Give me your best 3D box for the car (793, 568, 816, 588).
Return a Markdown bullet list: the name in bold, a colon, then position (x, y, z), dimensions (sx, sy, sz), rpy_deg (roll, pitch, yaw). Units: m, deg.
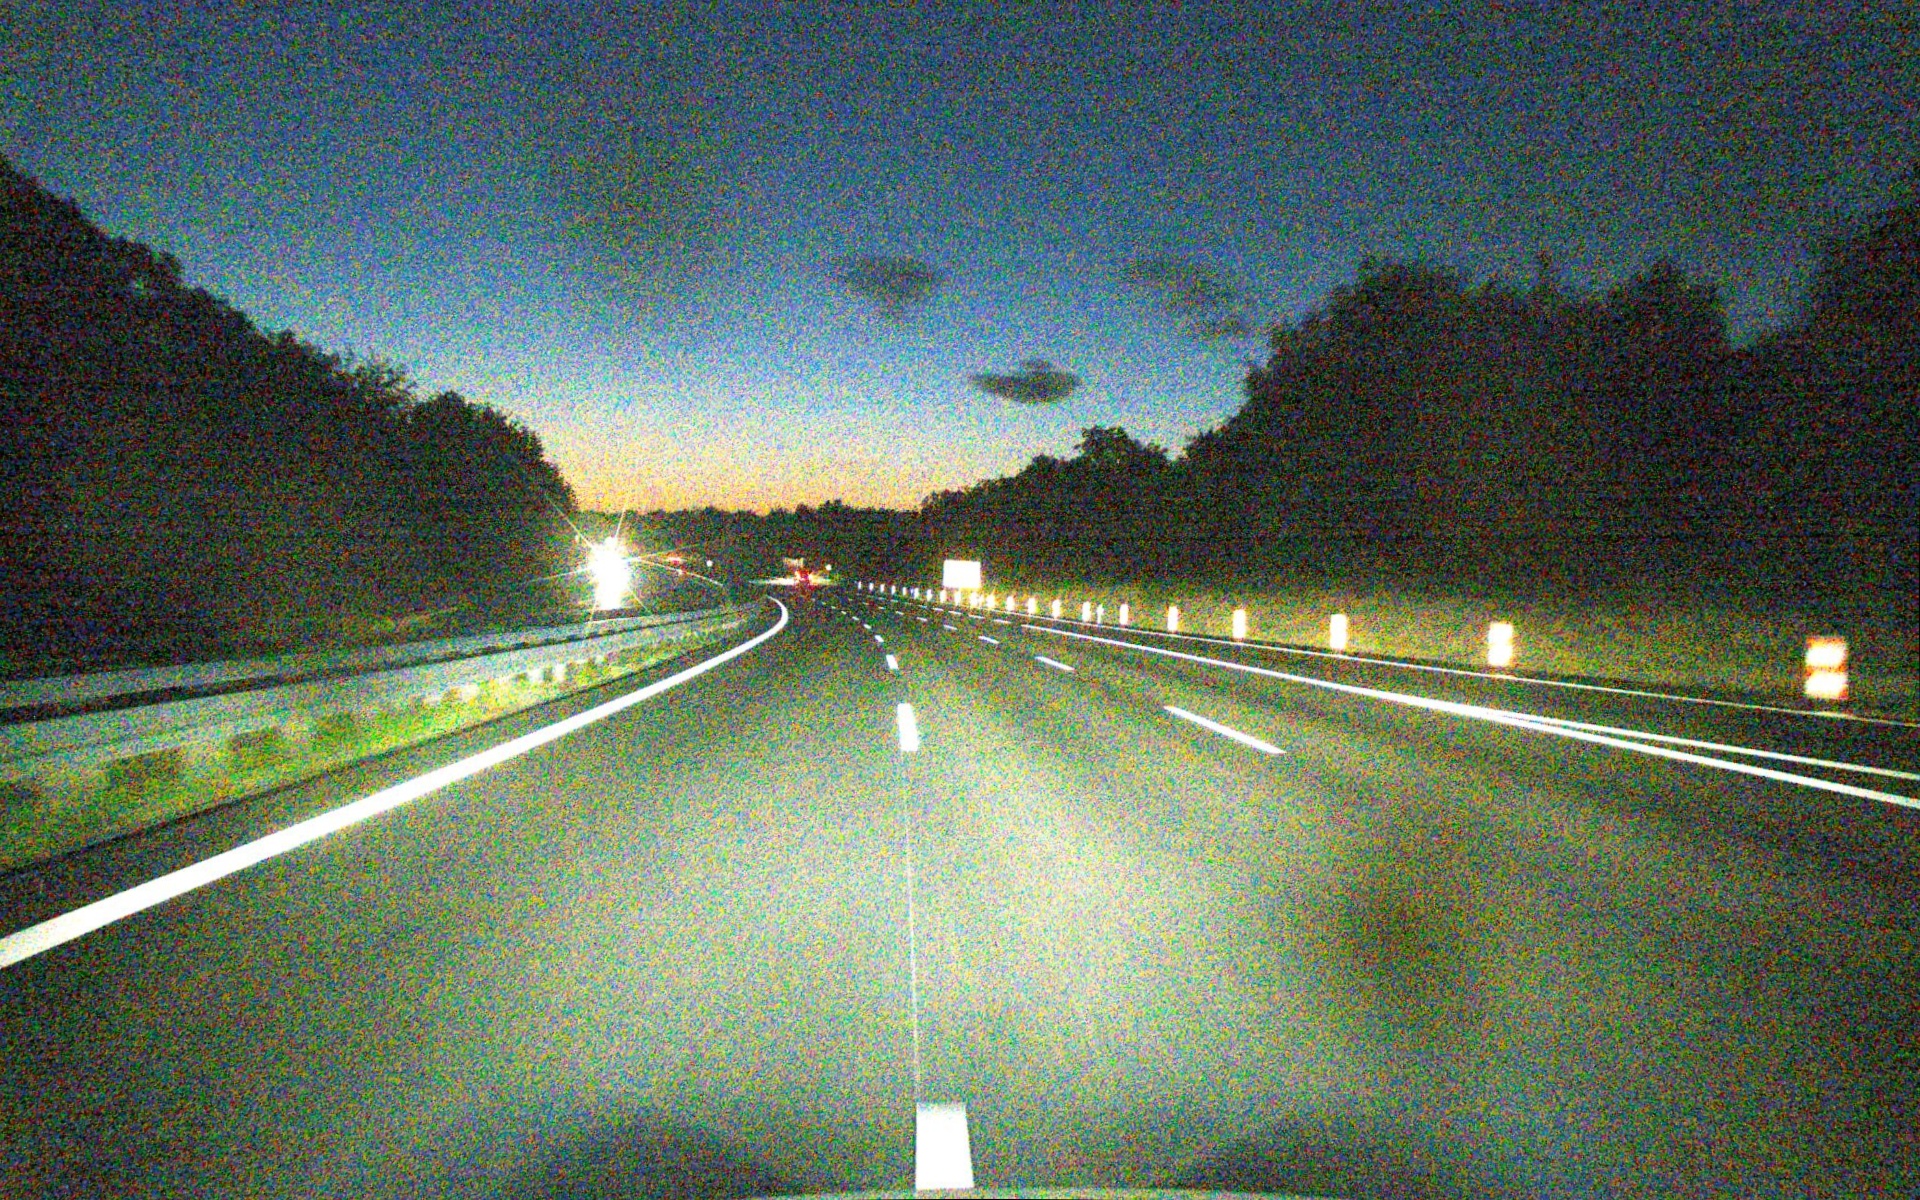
- **car**: position (-22.653, -3.255, 240.956), dimensions (2.484, 2.597, 6.032), rpy_deg (2, 1, -13)
